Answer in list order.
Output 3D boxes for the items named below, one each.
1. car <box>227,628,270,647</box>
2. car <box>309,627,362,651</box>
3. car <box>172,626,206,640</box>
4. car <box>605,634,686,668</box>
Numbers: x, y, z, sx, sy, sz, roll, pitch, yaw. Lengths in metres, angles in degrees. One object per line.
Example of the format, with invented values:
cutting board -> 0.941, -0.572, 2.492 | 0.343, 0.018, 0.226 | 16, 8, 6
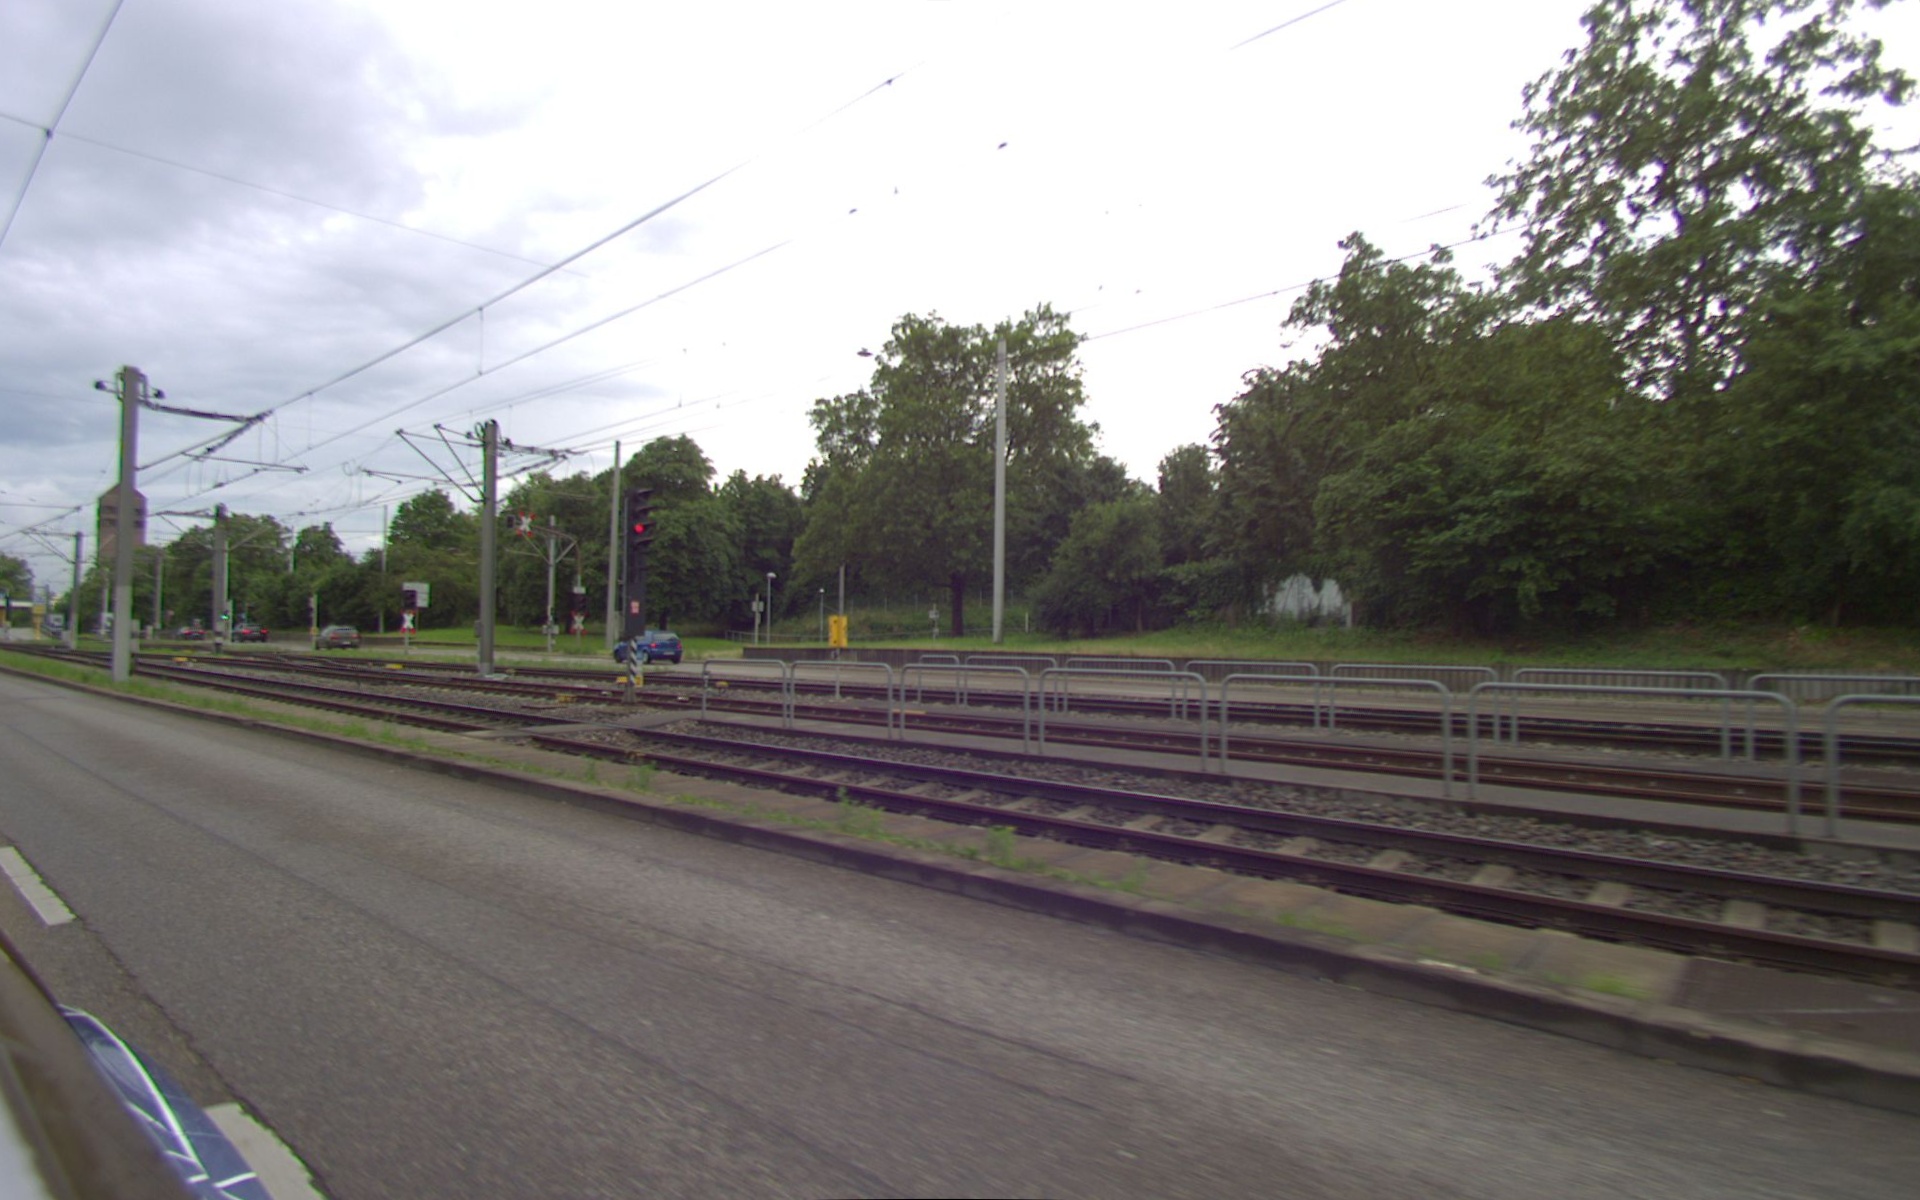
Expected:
car -> -63.457, 3.359, 90.220 | 5.159, 1.601, 2.066 | -2, -3, 43
car -> -40.158, 2.485, 65.041 | 4.309, 1.498, 1.870 | -2, -3, 44
car -> -79.412, 3.407, 104.157 | 4.680, 1.458, 1.906 | -2, -3, 42
car -> -13.771, 2.202, 44.233 | 3.901, 1.408, 1.741 | -2, -3, 44
